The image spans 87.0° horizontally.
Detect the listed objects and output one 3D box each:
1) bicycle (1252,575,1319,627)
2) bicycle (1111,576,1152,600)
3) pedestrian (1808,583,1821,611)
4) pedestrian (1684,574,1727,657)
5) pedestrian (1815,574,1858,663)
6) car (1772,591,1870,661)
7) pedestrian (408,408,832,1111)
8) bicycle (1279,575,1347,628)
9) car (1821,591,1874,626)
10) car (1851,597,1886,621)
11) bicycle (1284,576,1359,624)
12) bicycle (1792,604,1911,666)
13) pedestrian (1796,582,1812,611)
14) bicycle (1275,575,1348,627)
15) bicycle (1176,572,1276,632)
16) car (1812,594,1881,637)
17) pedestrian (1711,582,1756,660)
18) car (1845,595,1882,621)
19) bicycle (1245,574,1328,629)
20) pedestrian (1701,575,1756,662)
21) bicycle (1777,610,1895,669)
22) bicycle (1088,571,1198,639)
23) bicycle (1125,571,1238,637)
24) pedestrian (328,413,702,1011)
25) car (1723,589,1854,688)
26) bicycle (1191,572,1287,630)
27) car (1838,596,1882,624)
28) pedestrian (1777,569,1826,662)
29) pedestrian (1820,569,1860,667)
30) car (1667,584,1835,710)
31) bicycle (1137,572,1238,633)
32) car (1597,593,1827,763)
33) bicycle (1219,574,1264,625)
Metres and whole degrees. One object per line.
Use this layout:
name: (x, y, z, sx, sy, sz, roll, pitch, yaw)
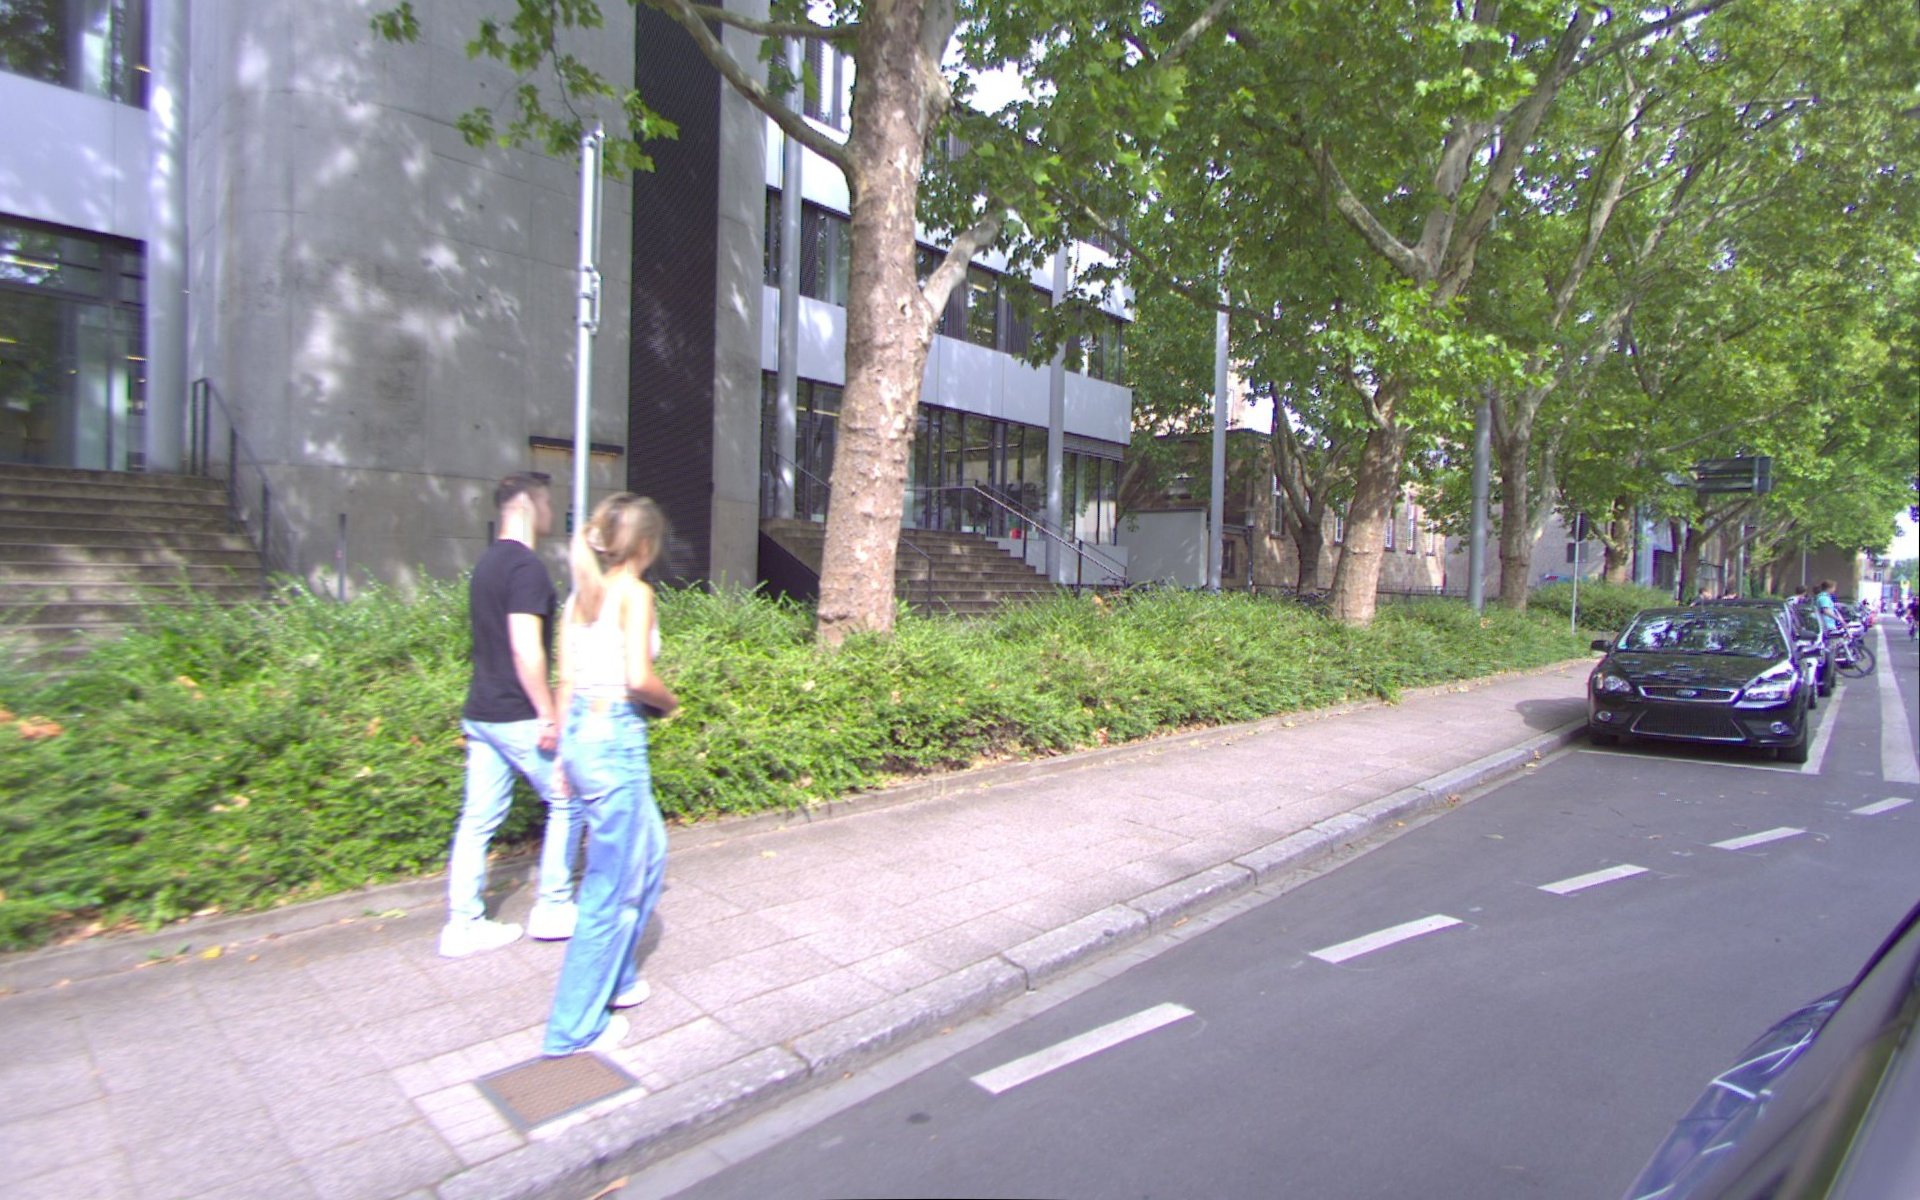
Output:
bicycle: (7.510, 0.011, 23.346, 1.370, 1.131, 0.506, 3, 2, 29)
bicycle: (6.709, -0.491, 39.705, 0.500, 0.889, 1.622, -2, 4, -42)
pedestrian: (55.988, -0.193, 66.313, 0.501, 1.806, 0.519, 7, 5, 42)
pedestrian: (17.325, 0.350, 23.528, 0.721, 1.878, 0.692, 1, 1, 43)
pedestrian: (18.782, 0.389, 21.703, 0.517, 1.868, 0.737, 1, 0, 28)
car: (20.824, 0.555, 24.517, 1.678, 1.535, 4.478, -1, 0, 40)
pedestrian: (-1.052, 0.387, 3.193, 0.710, 1.805, 1.018, 5, 4, 42)
bicycle: (8.192, 0.027, 23.523, 1.375, 1.131, 0.462, 4, 2, 36)
car: (43.713, 0.370, 49.884, 1.919, 1.642, 4.414, 0, 0, 41)
car: (57.728, 0.541, 64.296, 1.598, 1.465, 4.041, 0, 0, 43)
bicycle: (9.271, -0.024, 25.965, 1.671, 1.131, 0.596, 4, 3, 37)
bicycle: (18.785, 0.717, 21.366, 1.777, 1.232, 0.548, 1, 1, 27)
pedestrian: (55.858, -0.253, 66.967, 0.642, 1.855, 0.636, 7, 5, 42)
bicycle: (8.320, 0.015, 24.005, 1.535, 1.131, 0.462, 4, 2, 36)
bicycle: (5.567, 0.024, 21.247, 1.915, 1.131, 0.663, 4, 3, 43)
car: (31.712, 0.515, 36.278, 1.639, 1.465, 3.829, 0, 0, 38)
pedestrian: (17.113, 0.448, 22.386, 0.721, 1.679, 0.645, 1, 1, 43)
car: (54.074, 0.464, 60.547, 1.598, 1.524, 4.371, 0, 0, 43)
bicycle: (7.336, 0.021, 22.724, 1.682, 1.131, 0.618, 3, 2, 25)
pedestrian: (16.582, 0.378, 21.834, 0.871, 1.839, 0.768, 1, 1, 43)
bicycle: (17.763, 0.783, 20.571, 1.727, 1.119, 0.546, 1, 1, 33)
bicycle: (3.368, 0.065, 18.717, 1.915, 1.131, 0.663, 4, 3, 43)
bicycle: (4.274, 0.050, 19.670, 2.079, 1.131, 0.663, 4, 3, 43)
pedestrian: (-1.601, 0.317, 3.685, 0.715, 1.821, 1.018, 5, 4, 42)
car: (14.352, 0.581, 17.472, 1.528, 1.521, 3.603, 1, 1, 43)
bicycle: (6.099, 0.004, 22.220, 1.915, 1.131, 0.663, 4, 3, 43)
car: (47.554, 0.492, 53.446, 1.639, 1.450, 4.502, 0, 0, 43)
pedestrian: (18.700, 0.320, 22.492, 0.793, 2.022, 0.738, 1, 1, 43)
pedestrian: (18.004, 0.361, 20.712, 0.472, 1.959, 0.736, 1, 0, 32)
car: (11.044, 0.573, 14.091, 2.556, 1.562, 1.536, 0, 1, -44)
bicycle: (4.636, 0.027, 20.745, 1.915, 1.131, 0.663, 4, 3, 43)
car: (8.237, 0.658, 10.964, 1.695, 1.443, 4.358, 1, 1, 40)
bicycle: (6.573, -0.019, 23.618, 0.490, 1.131, 1.418, 4, 2, 37)
